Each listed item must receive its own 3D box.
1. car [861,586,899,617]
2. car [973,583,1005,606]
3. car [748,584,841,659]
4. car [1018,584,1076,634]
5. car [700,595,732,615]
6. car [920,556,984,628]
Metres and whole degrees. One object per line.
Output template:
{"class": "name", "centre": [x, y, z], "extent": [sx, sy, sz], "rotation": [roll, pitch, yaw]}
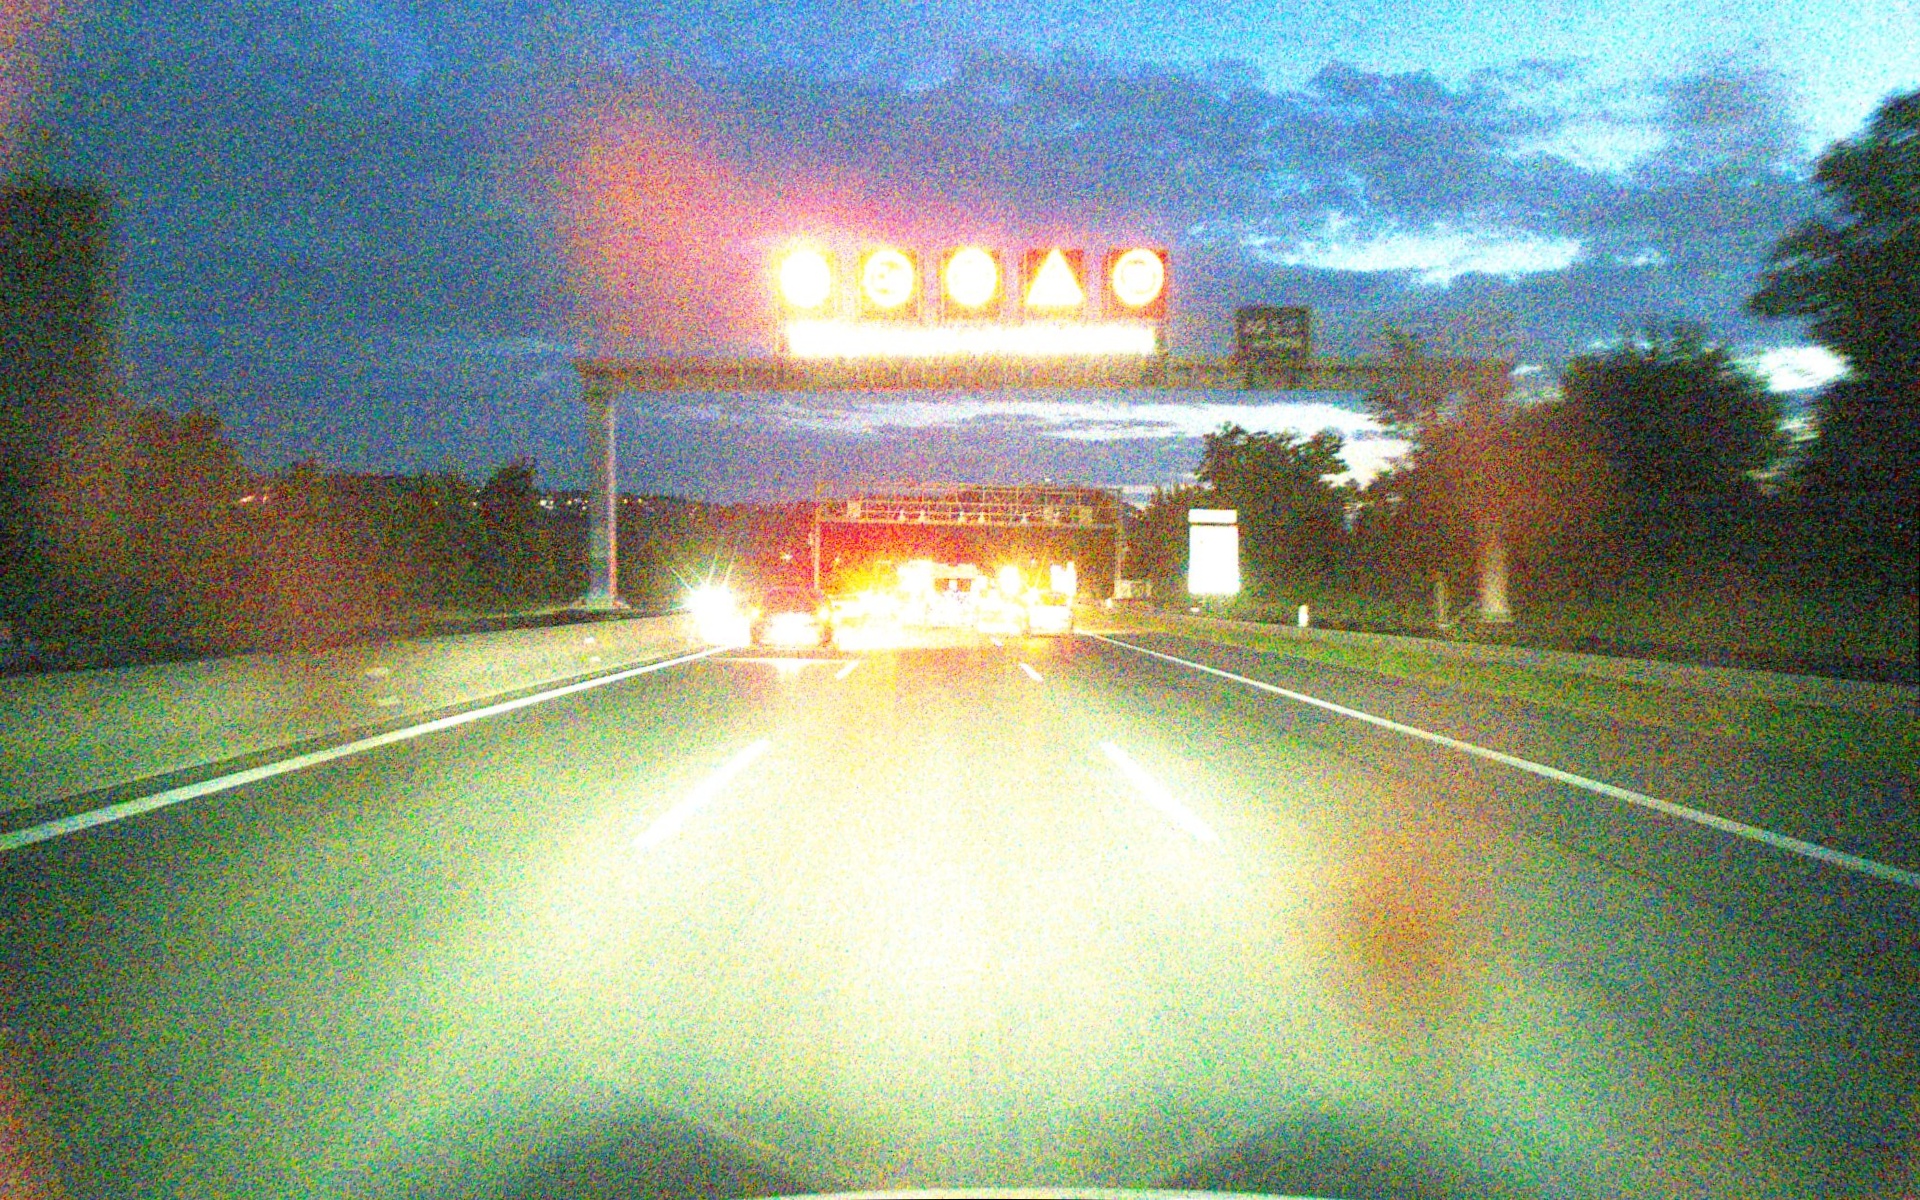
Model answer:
{"class": "car", "centre": [-3.898, 0.046, 81.159], "extent": [1.709, 1.465, 4.367], "rotation": [0, 1, 0]}
{"class": "car", "centre": [2.026, -0.366, 117.579], "extent": [2.119, 1.591, 4.722], "rotation": [0, 0, 0]}
{"class": "car", "centre": [-3.532, 0.418, 35.806], "extent": [1.758, 1.494, 3.771], "rotation": [1, 1, -2]}
{"class": "car", "centre": [2.959, 0.286, 56.929], "extent": [1.613, 1.624, 4.508], "rotation": [1, 0, -1]}
{"class": "car", "centre": [-20.293, 0.419, 137.762], "extent": [1.924, 1.564, 5.184], "rotation": [-1, 0, 0]}
{"class": "car", "centre": [-0.310, -0.329, 62.526], "extent": [2.303, 2.579, 5.700], "rotation": [0, 1, 0]}
